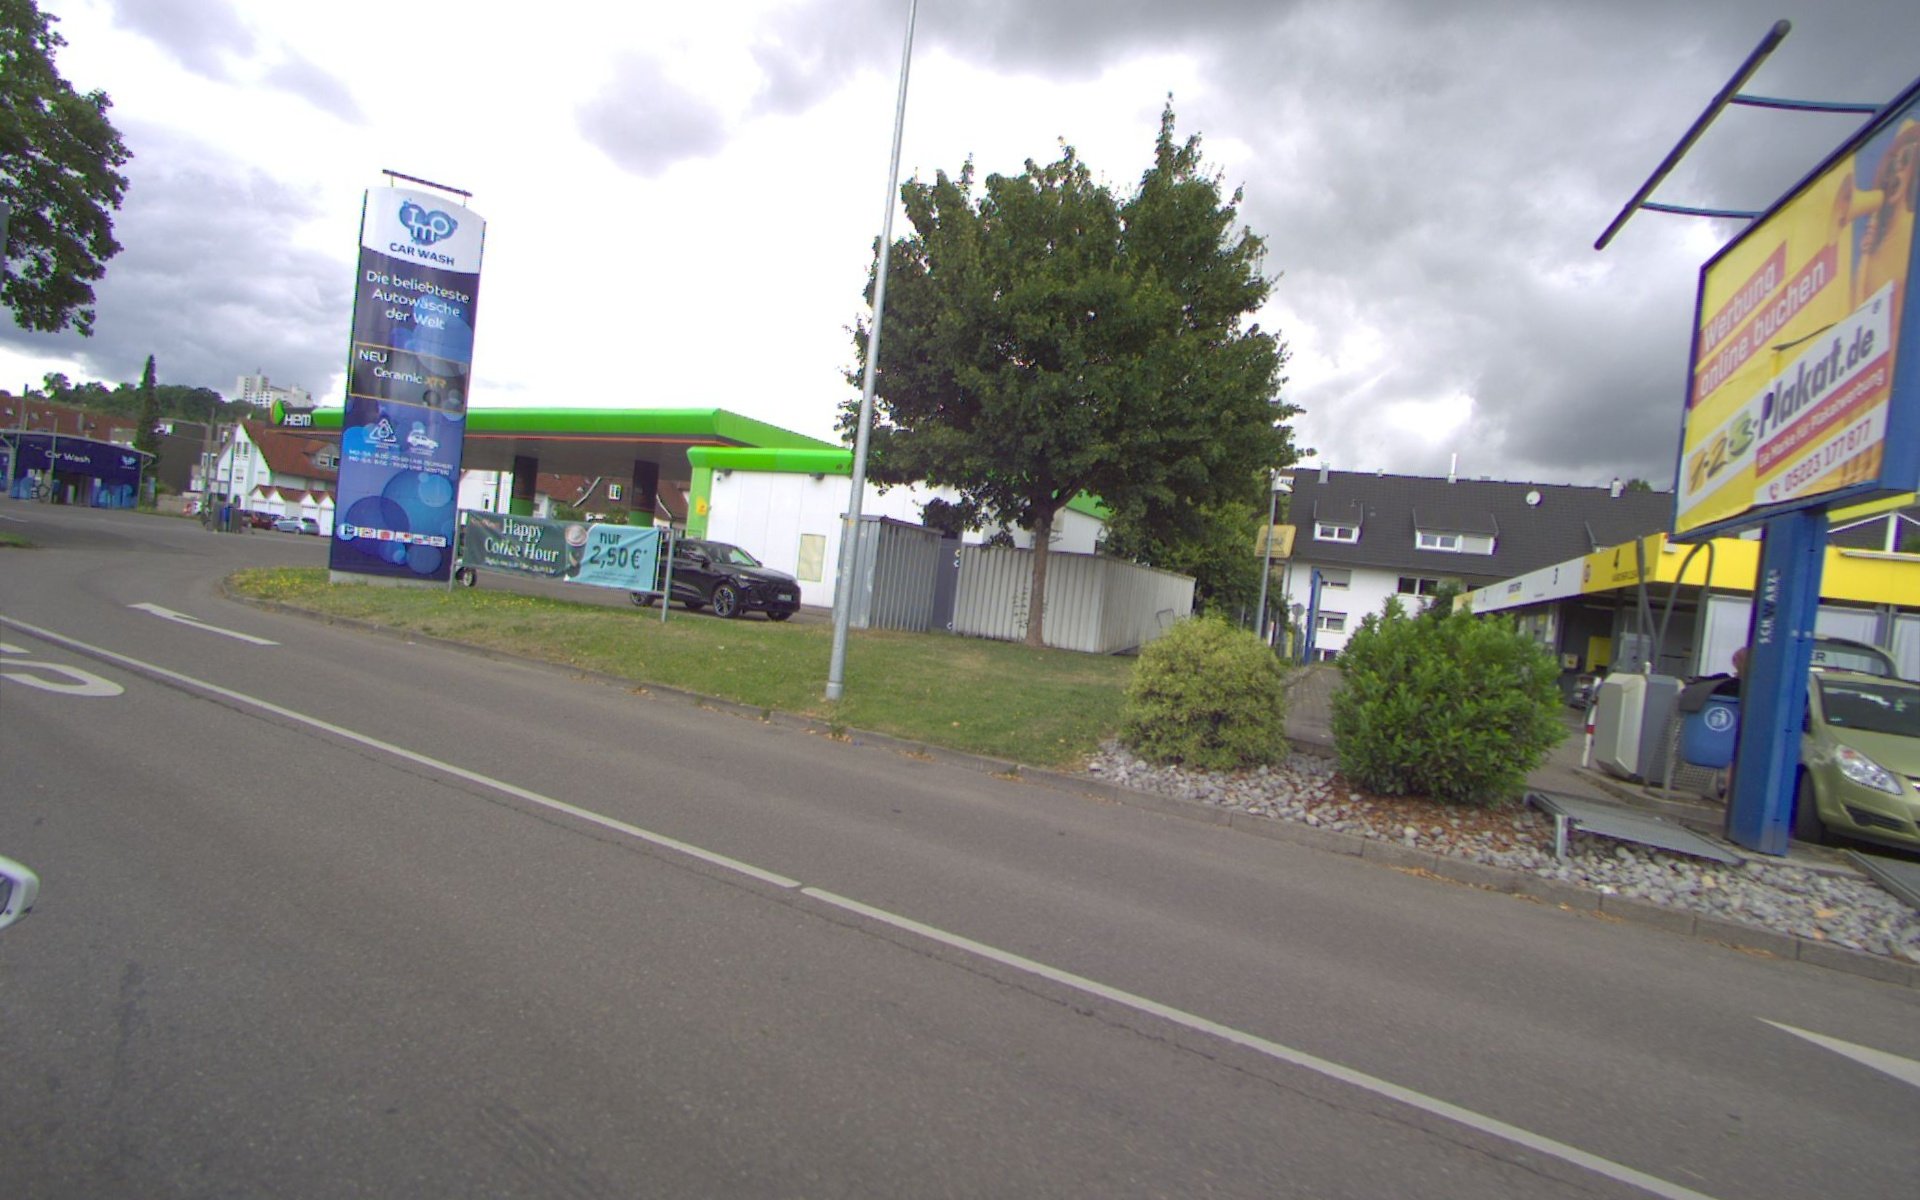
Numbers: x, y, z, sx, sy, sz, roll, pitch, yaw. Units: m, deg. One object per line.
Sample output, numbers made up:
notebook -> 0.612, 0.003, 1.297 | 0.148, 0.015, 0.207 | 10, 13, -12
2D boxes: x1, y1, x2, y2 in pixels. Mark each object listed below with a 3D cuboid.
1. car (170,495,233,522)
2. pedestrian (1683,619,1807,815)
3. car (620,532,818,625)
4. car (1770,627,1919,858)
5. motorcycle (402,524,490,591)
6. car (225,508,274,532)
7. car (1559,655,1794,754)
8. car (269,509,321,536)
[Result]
car -> -70.591, -8.514, 93.737 | 1.747, 1.703, 4.226 | 7, -2, 29
pedestrian -> 7.288, 1.060, 9.373 | 0.575, 1.692, 0.633 | 7, 1, 22
car -> -5.513, -0.509, 22.867 | 4.266, 1.697, 1.821 | 6, 2, 32
car -> 9.132, 1.326, 8.707 | 2.900, 1.676, 4.016 | 7, 0, 36
motorcycle -> -12.144, -1.012, 23.755 | 1.957, 1.348, 0.856 | 7, 1, 32
car -> -58.593, -6.579, 82.941 | 3.354, 1.410, 1.587 | 7, -1, 20
car -> 16.239, 2.314, 23.058 | 3.857, 1.593, 1.838 | 7, 1, 19
car -> -53.804, -6.255, 81.395 | 3.667, 1.618, 1.539 | 7, -1, 20
